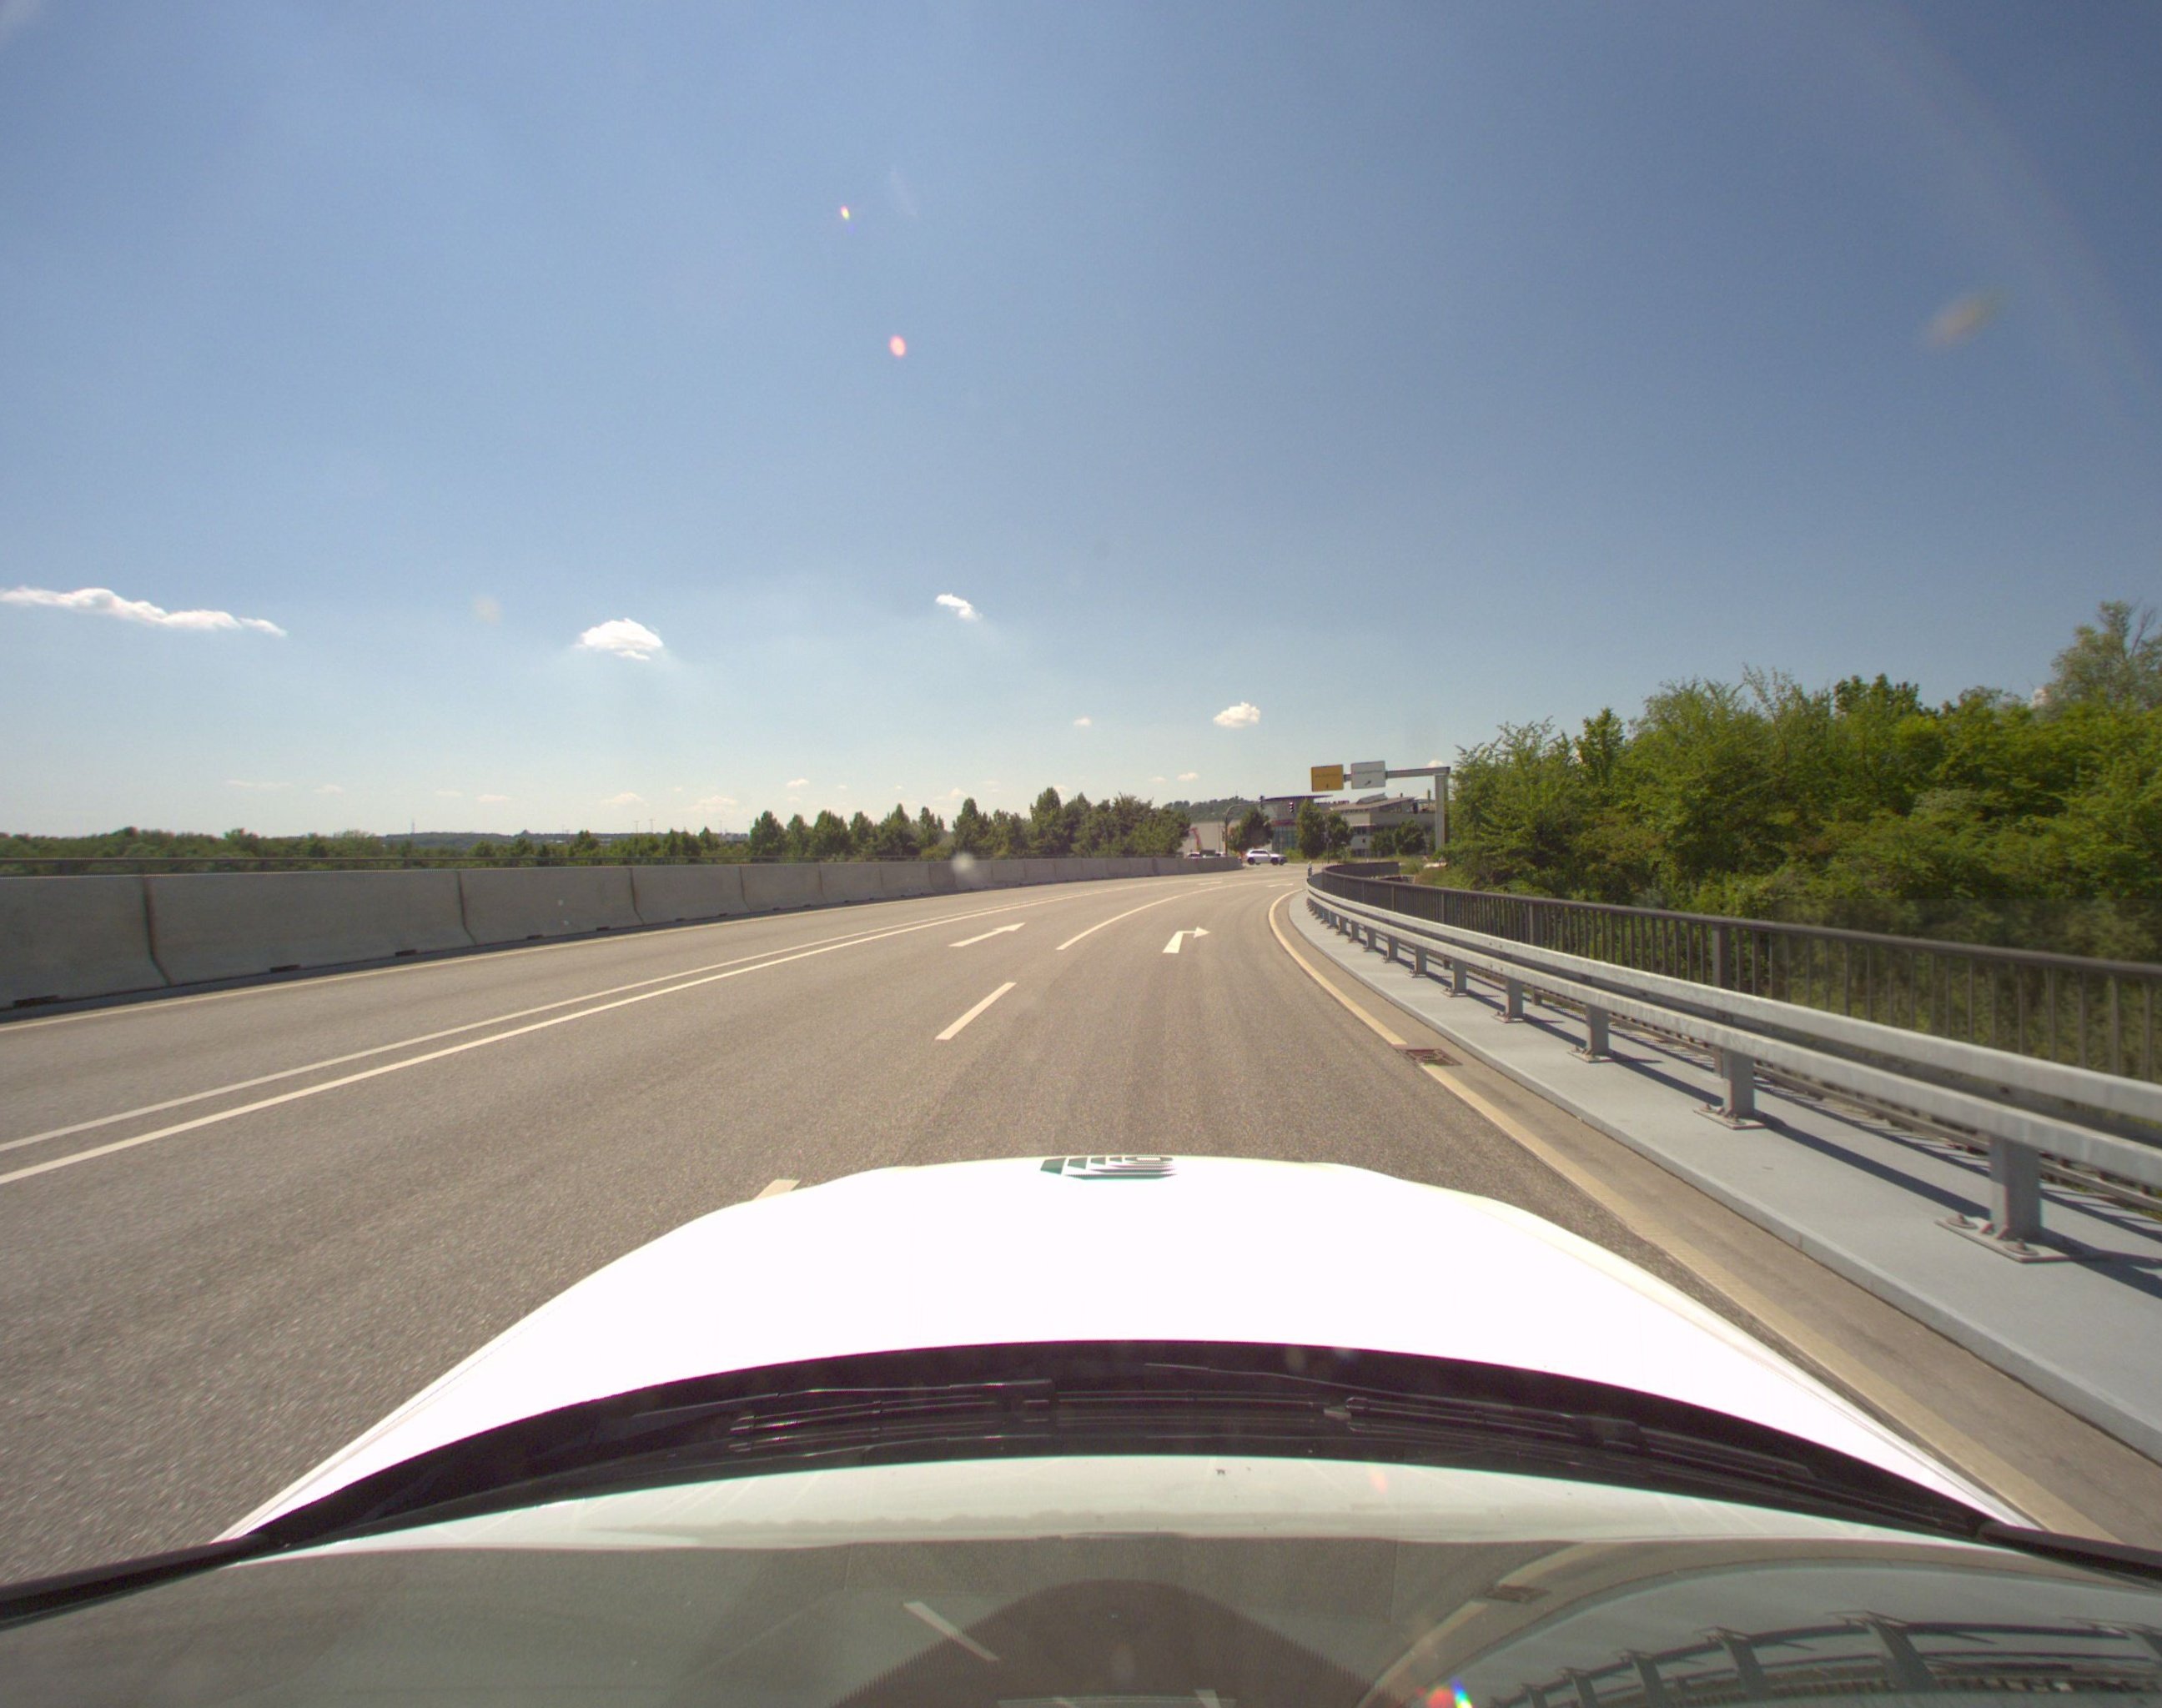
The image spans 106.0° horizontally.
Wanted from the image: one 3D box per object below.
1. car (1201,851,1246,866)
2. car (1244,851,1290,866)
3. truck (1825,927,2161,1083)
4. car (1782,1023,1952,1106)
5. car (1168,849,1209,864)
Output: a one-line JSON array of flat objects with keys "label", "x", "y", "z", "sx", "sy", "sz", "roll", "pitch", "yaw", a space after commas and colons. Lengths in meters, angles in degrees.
[{"label": "car", "x": 14.796, "y": 0.459, "z": 84.741, "sx": 1.803, "sy": 1.495, "sz": 4.496, "roll": -1, "pitch": 0, "yaw": -42}, {"label": "car", "x": 19.637, "y": 0.491, "z": 86.009, "sx": 4.339, "sy": 1.505, "sz": 2.013, "roll": -2, "pitch": -1, "yaw": 36}, {"label": "truck", "x": 31.846, "y": 4.745, "z": 26.430, "sx": 10.874, "sy": 4.348, "sz": 2.917, "roll": -2, "pitch": -1, "yaw": 27}, {"label": "car", "x": 22.653, "y": 6.022, "z": 23.629, "sx": 3.196, "sy": 1.677, "sz": 1.727, "roll": -2, "pitch": -1, "yaw": 31}, {"label": "car", "x": 12.127, "y": 0.269, "z": 91.827, "sx": 4.082, "sy": 1.486, "sz": 2.013, "roll": 1, "pitch": 1, "yaw": 38}]
